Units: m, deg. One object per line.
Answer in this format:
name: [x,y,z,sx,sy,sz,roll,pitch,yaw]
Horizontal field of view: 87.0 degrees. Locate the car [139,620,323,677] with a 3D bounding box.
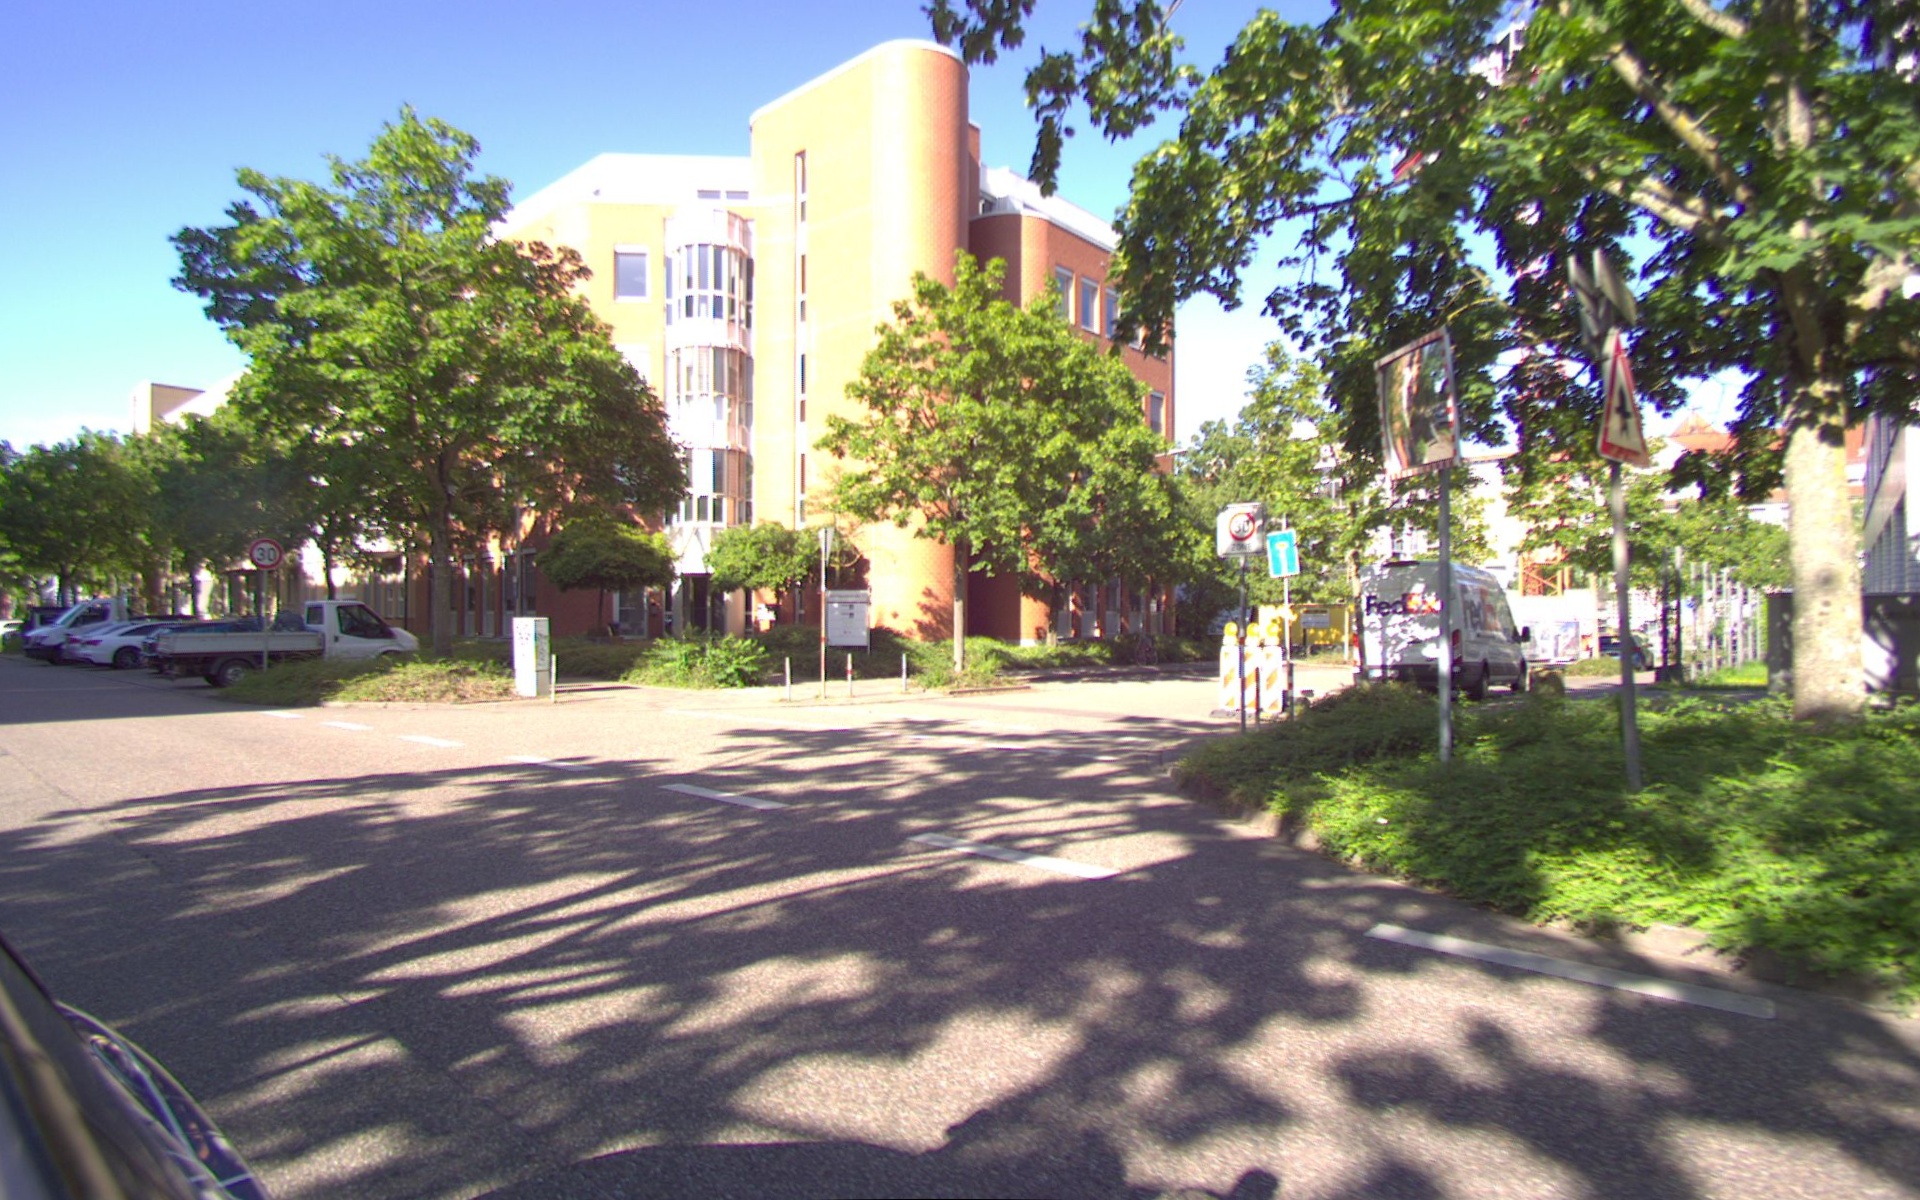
car: [-20.252,1.286,28.223,1.790,1.446,3.941,-1,-1,45]

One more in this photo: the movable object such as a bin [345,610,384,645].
movable object such as a bin: [-27.776,1.282,47.211,1.239,1.575,1.137,-1,-1,29]

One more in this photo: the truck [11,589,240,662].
truck: [-30.279,0.954,36.947,2.186,2.440,6.166,-1,-2,41]

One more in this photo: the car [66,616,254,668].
car: [-25.932,1.317,32.932,1.888,1.453,4.496,-2,0,39]

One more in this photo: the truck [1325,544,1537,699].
truck: [9.953,0.453,21.060,2.575,2.725,6.043,-1,-2,39]

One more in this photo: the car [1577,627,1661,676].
car: [24.269,1.858,37.226,2.009,1.690,3.945,-1,-2,41]

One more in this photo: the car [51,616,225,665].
car: [-28.339,1.341,34.991,1.998,1.498,4.383,-1,0,40]

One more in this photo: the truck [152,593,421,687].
truck: [-15.809,0.927,23.962,2.138,1.974,4.930,-2,-2,43]

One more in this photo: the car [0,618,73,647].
car: [-52.282,1.834,56.696,1.753,1.463,3.716,-2,0,41]

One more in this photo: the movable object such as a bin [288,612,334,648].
movable object such as a bin: [-32.879,1.497,51.257,1.664,1.810,1.581,-1,-2,43]

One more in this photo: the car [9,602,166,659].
car: [-34.646,1.158,40.292,1.998,2.067,4.437,-1,0,39]

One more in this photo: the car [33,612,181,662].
car: [-32.357,1.355,38.472,1.999,1.674,4.064,-1,0,41]

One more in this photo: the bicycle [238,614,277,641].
bicycle: [-38.593,1.486,55.596,0.609,1.419,1.719,-1,0,18]
